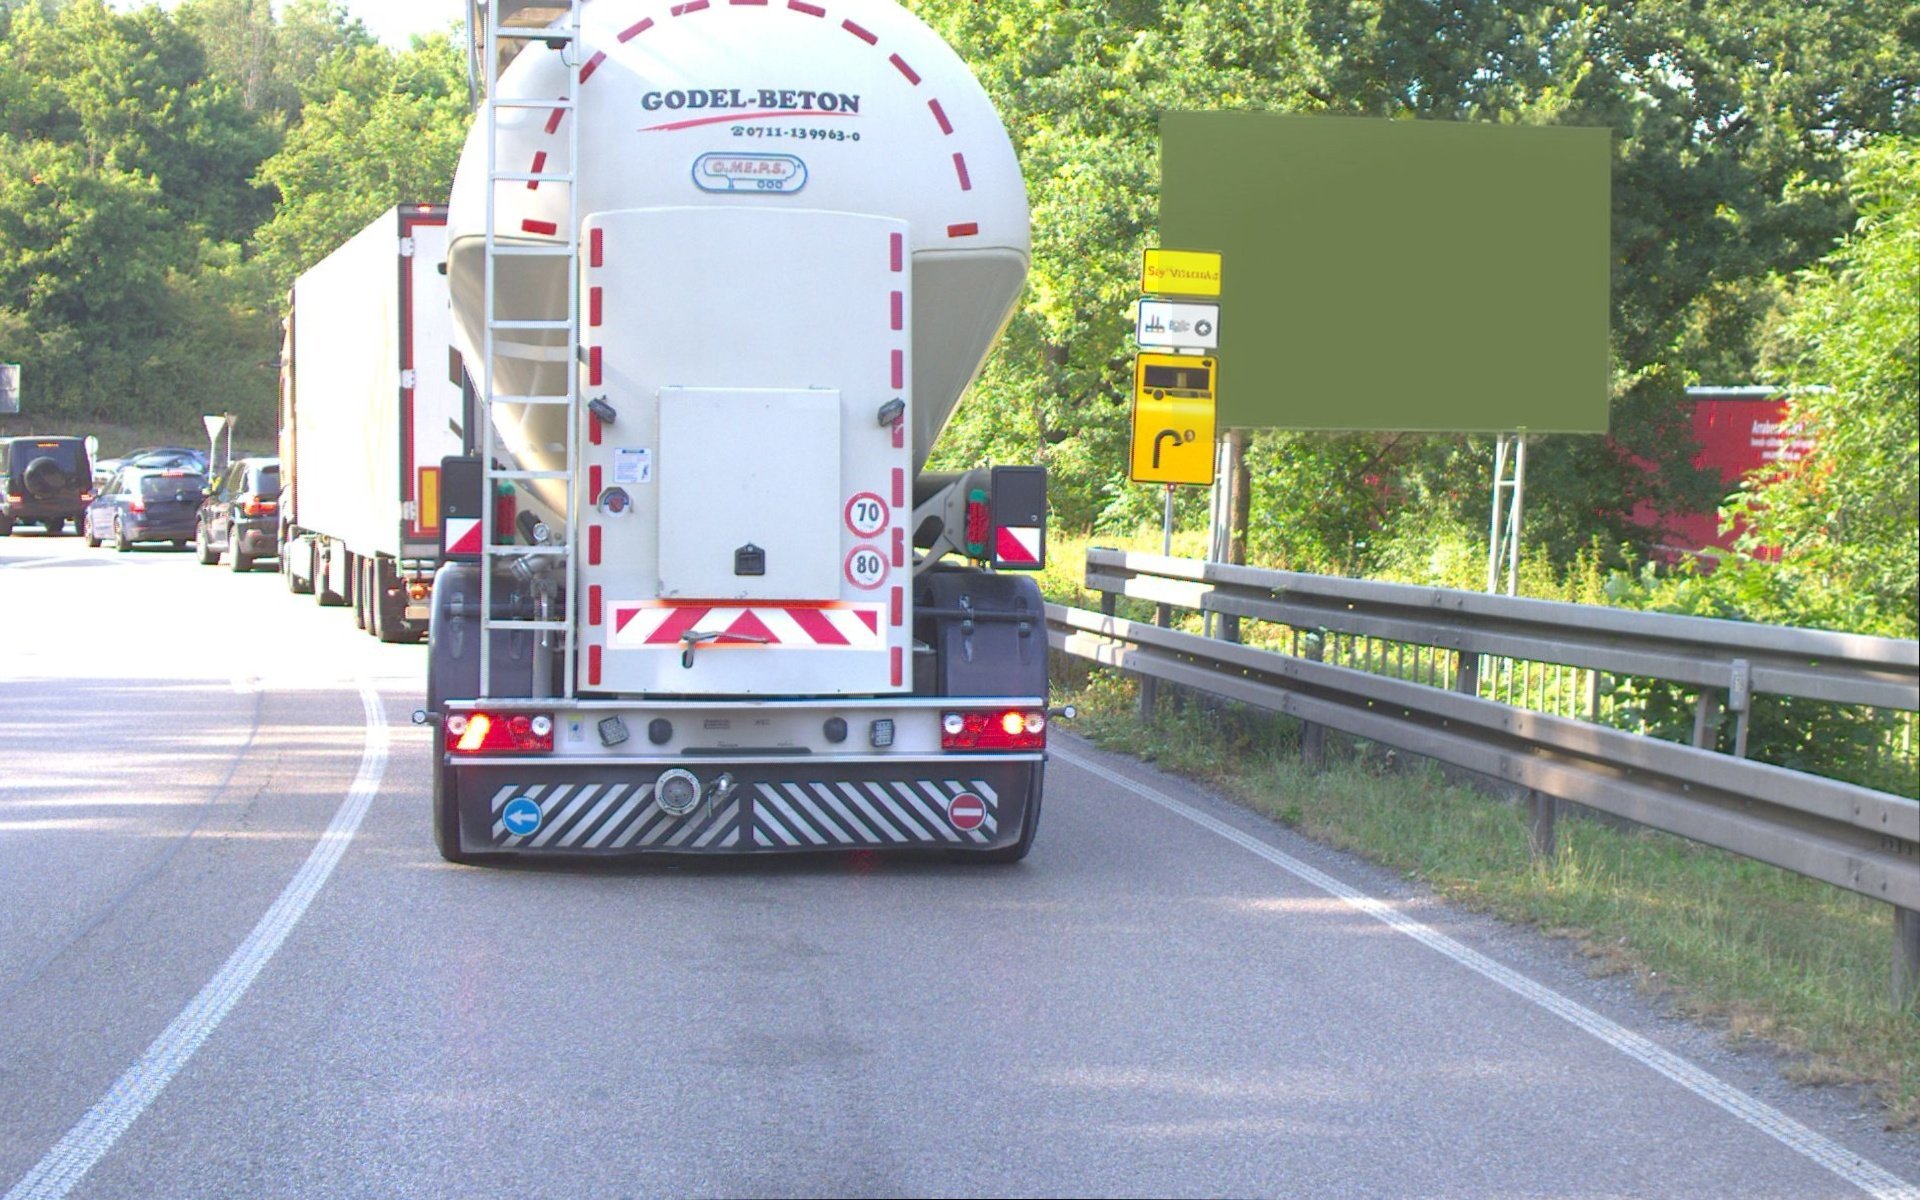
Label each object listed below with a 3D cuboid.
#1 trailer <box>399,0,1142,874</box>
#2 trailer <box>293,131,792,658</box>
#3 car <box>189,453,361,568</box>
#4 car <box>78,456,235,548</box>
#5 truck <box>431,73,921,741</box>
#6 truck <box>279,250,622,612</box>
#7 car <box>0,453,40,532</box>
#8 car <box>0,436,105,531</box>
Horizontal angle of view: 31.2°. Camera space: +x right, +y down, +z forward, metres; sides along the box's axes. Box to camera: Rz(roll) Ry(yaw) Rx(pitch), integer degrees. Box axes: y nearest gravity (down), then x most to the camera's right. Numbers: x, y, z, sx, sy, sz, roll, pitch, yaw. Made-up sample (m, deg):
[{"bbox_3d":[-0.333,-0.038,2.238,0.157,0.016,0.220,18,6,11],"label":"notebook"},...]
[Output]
[{"bbox_3d":[-1.334,-1.280,18.311,2.886,4.438,9.608,1,2,-7],"label":"trailer"},{"bbox_3d":[-4.862,-1.969,36.519,3.544,4.497,12.989,1,1,-14],"label":"trailer"},{"bbox_3d":[-10.477,-1.379,52.408,1.867,1.622,4.001,2,1,-21],"label":"car"},{"bbox_3d":[-14.312,-1.772,61.113,1.867,1.559,4.001,-1,3,-26],"label":"car"},{"bbox_3d":[-2.167,-1.244,23.892,2.823,4.021,5.896,0,2,-10],"label":"truck"},{"bbox_3d":[-6.482,-2.026,42.833,3.449,4.072,6.493,1,1,-15],"label":"truck"},{"bbox_3d":[-21.915,-2.439,76.290,1.867,1.677,4.001,2,2,-30],"label":"car"},{"bbox_3d":[-18.822,-2.395,69.575,1.956,1.845,4.001,-2,3,-29],"label":"car"}]
